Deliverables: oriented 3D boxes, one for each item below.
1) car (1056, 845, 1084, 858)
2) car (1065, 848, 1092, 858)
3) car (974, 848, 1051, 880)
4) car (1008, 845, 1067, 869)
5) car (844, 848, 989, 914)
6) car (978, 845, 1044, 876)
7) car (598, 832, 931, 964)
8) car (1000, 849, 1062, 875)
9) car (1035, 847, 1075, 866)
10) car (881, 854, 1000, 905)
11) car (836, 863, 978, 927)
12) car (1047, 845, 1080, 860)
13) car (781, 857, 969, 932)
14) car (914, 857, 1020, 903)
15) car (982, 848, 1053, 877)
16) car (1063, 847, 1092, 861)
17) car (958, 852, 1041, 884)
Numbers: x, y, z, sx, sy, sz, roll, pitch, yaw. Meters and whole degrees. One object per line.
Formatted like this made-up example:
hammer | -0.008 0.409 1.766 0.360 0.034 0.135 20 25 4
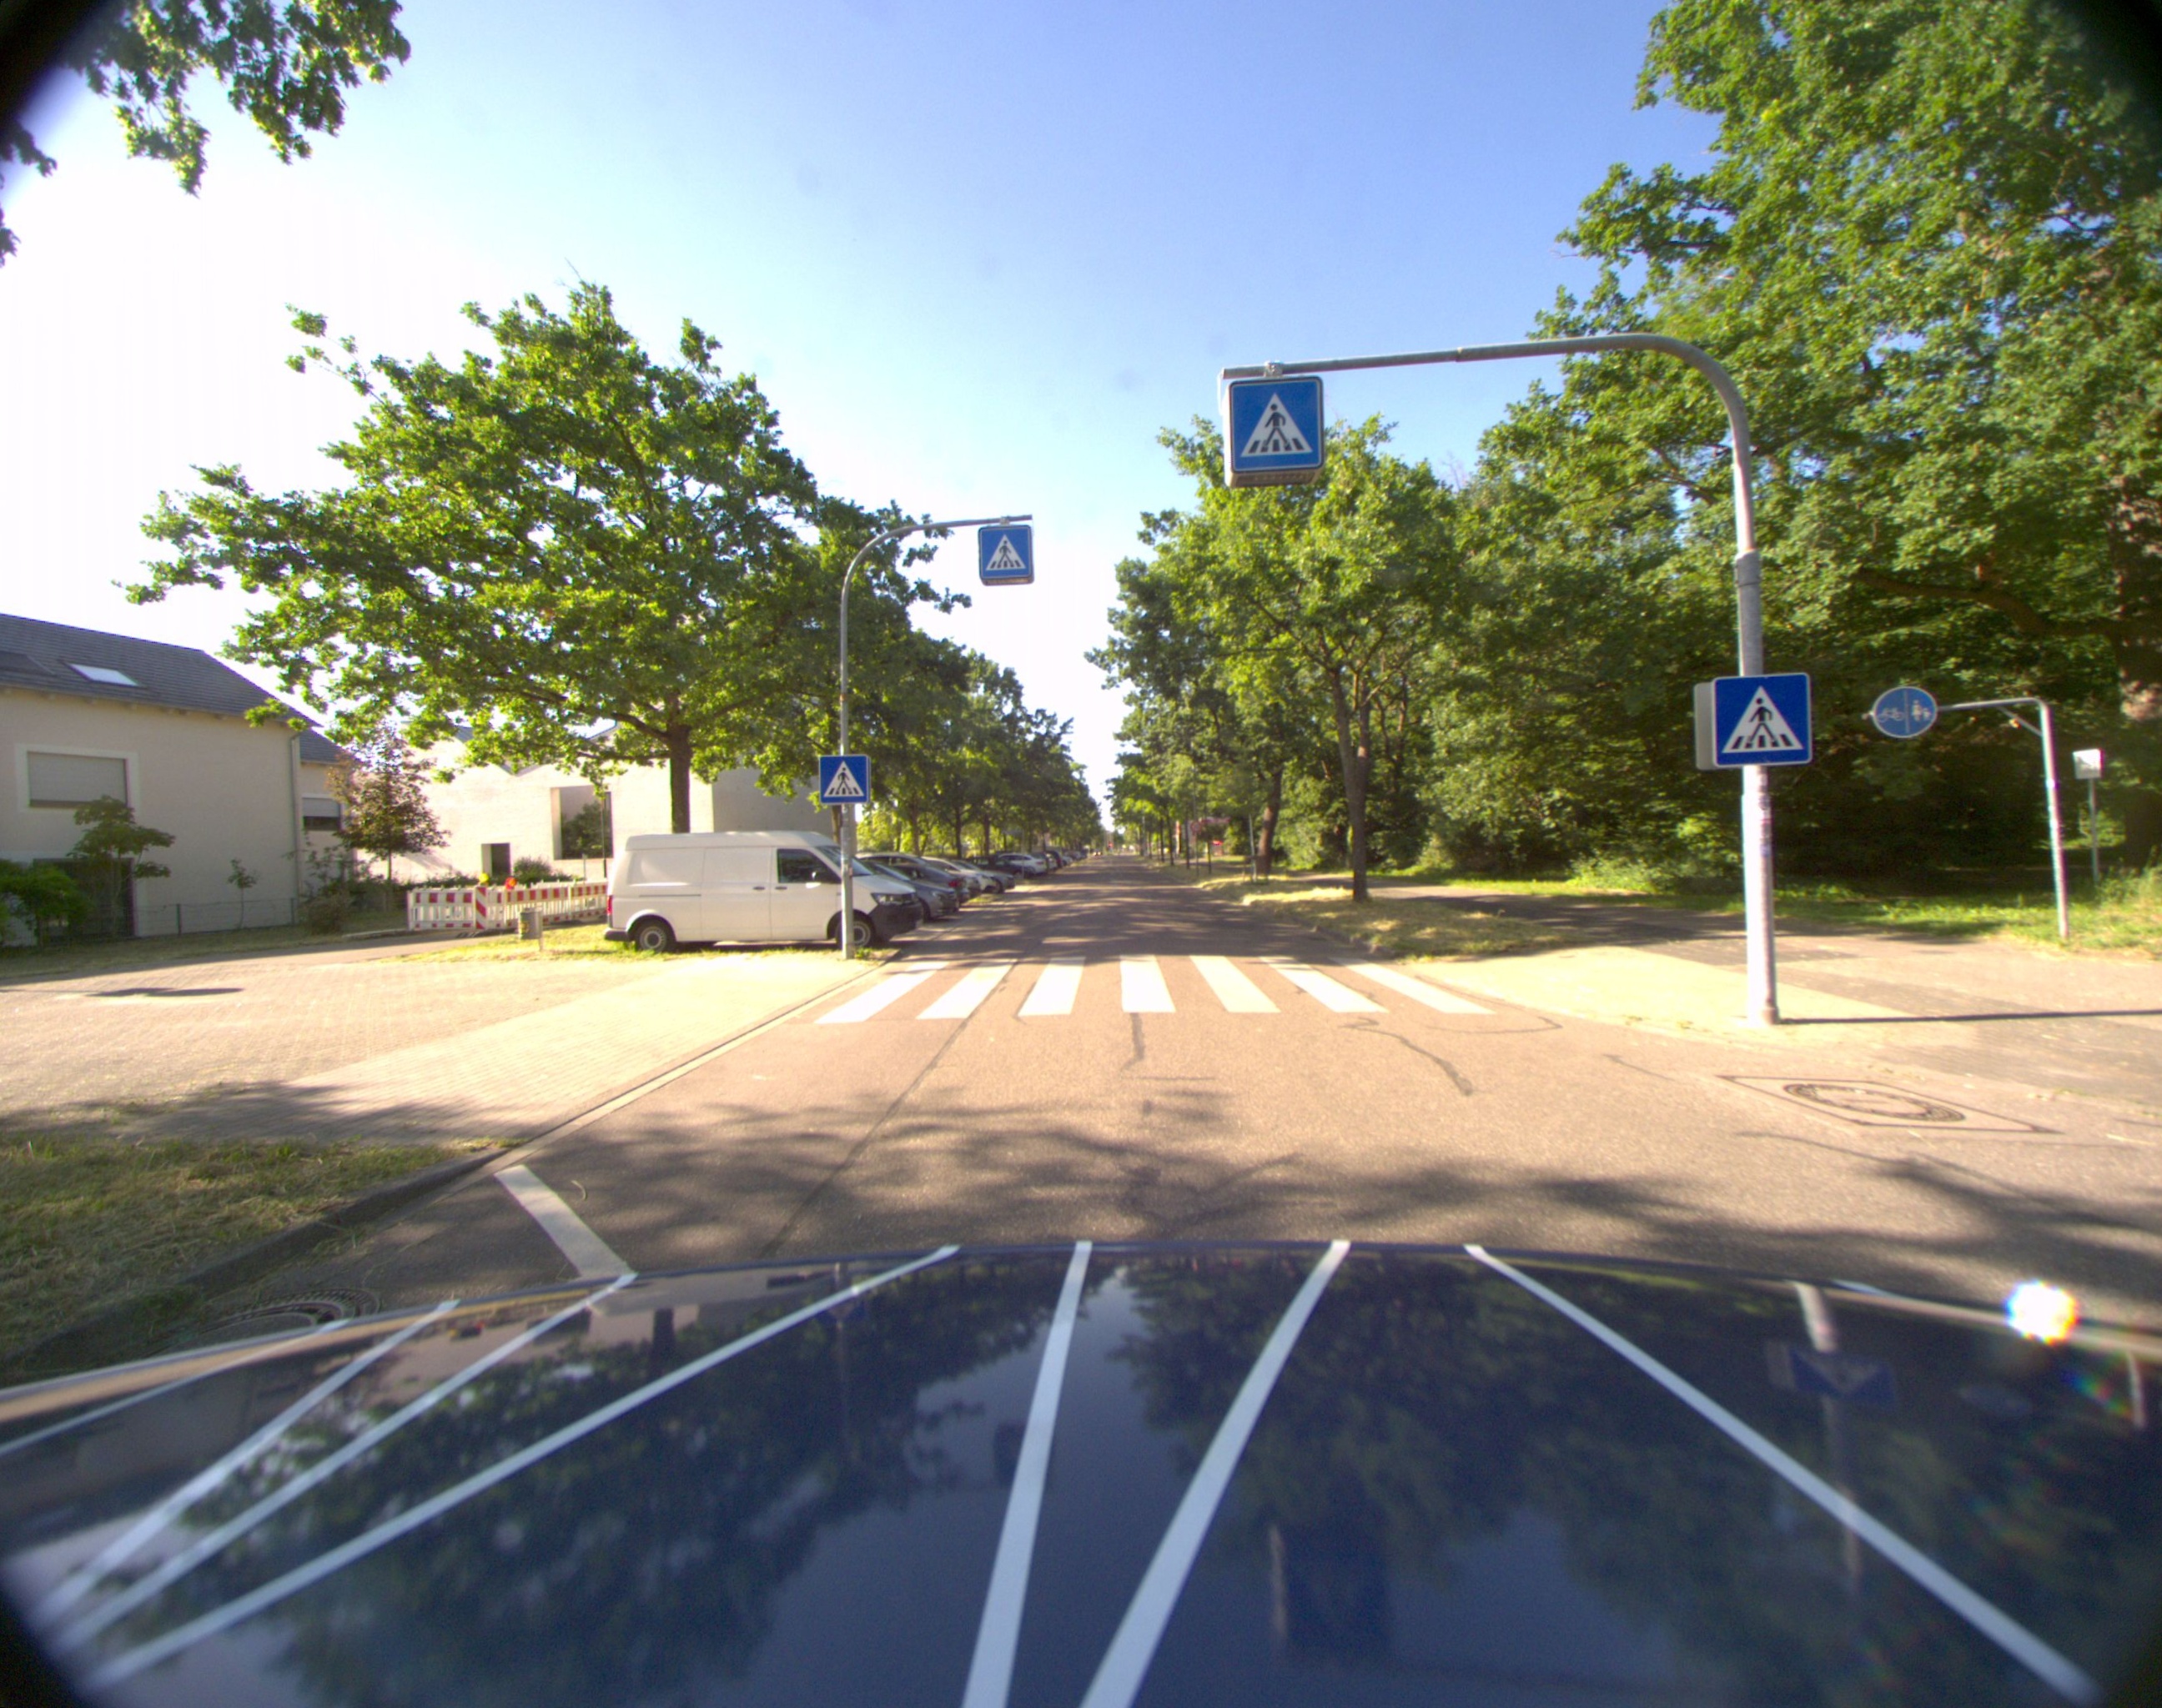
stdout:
car | -1.746 -0.339 117.549 4.151 1.838 1.949 -3 1 3
car | -0.406 -0.111 122.536 4.151 1.401 1.800 -3 1 3
car | -4.135 0.599 46.367 4.394 1.733 1.533 -3 1 4
car | -3.441 0.219 60.437 4.394 1.733 1.533 -3 1 4
car | -5.054 0.812 23.652 4.018 1.783 1.713 -3 1 4
car | -4.907 0.426 53.818 4.394 1.977 1.533 -3 1 4
car | -5.404 0.727 13.458 5.045 2.069 1.891 -1 1 2
car | -3.764 0.572 57.631 4.394 1.733 1.533 -3 1 4
car | -2.708 0.238 80.267 3.996 1.838 1.863 -3 1 3
car | -5.174 0.919 28.256 4.018 1.669 1.533 -3 1 4
car | -4.777 1.126 21.094 3.515 1.533 1.448 -3 1 4
car | -2.346 -0.208 101.219 4.151 1.838 1.949 -3 1 3
car | -4.955 0.964 18.625 3.996 1.554 1.758 -3 1 4
car | -4.644 1.030 31.237 4.018 1.650 1.533 -3 1 4
car | -4.181 0.560 50.485 4.394 1.733 1.533 -3 1 4
car | -0.484 -0.023 112.449 4.151 1.838 1.949 -3 1 3
car | -4.608 0.782 43.353 4.394 1.632 1.533 -3 1 4
